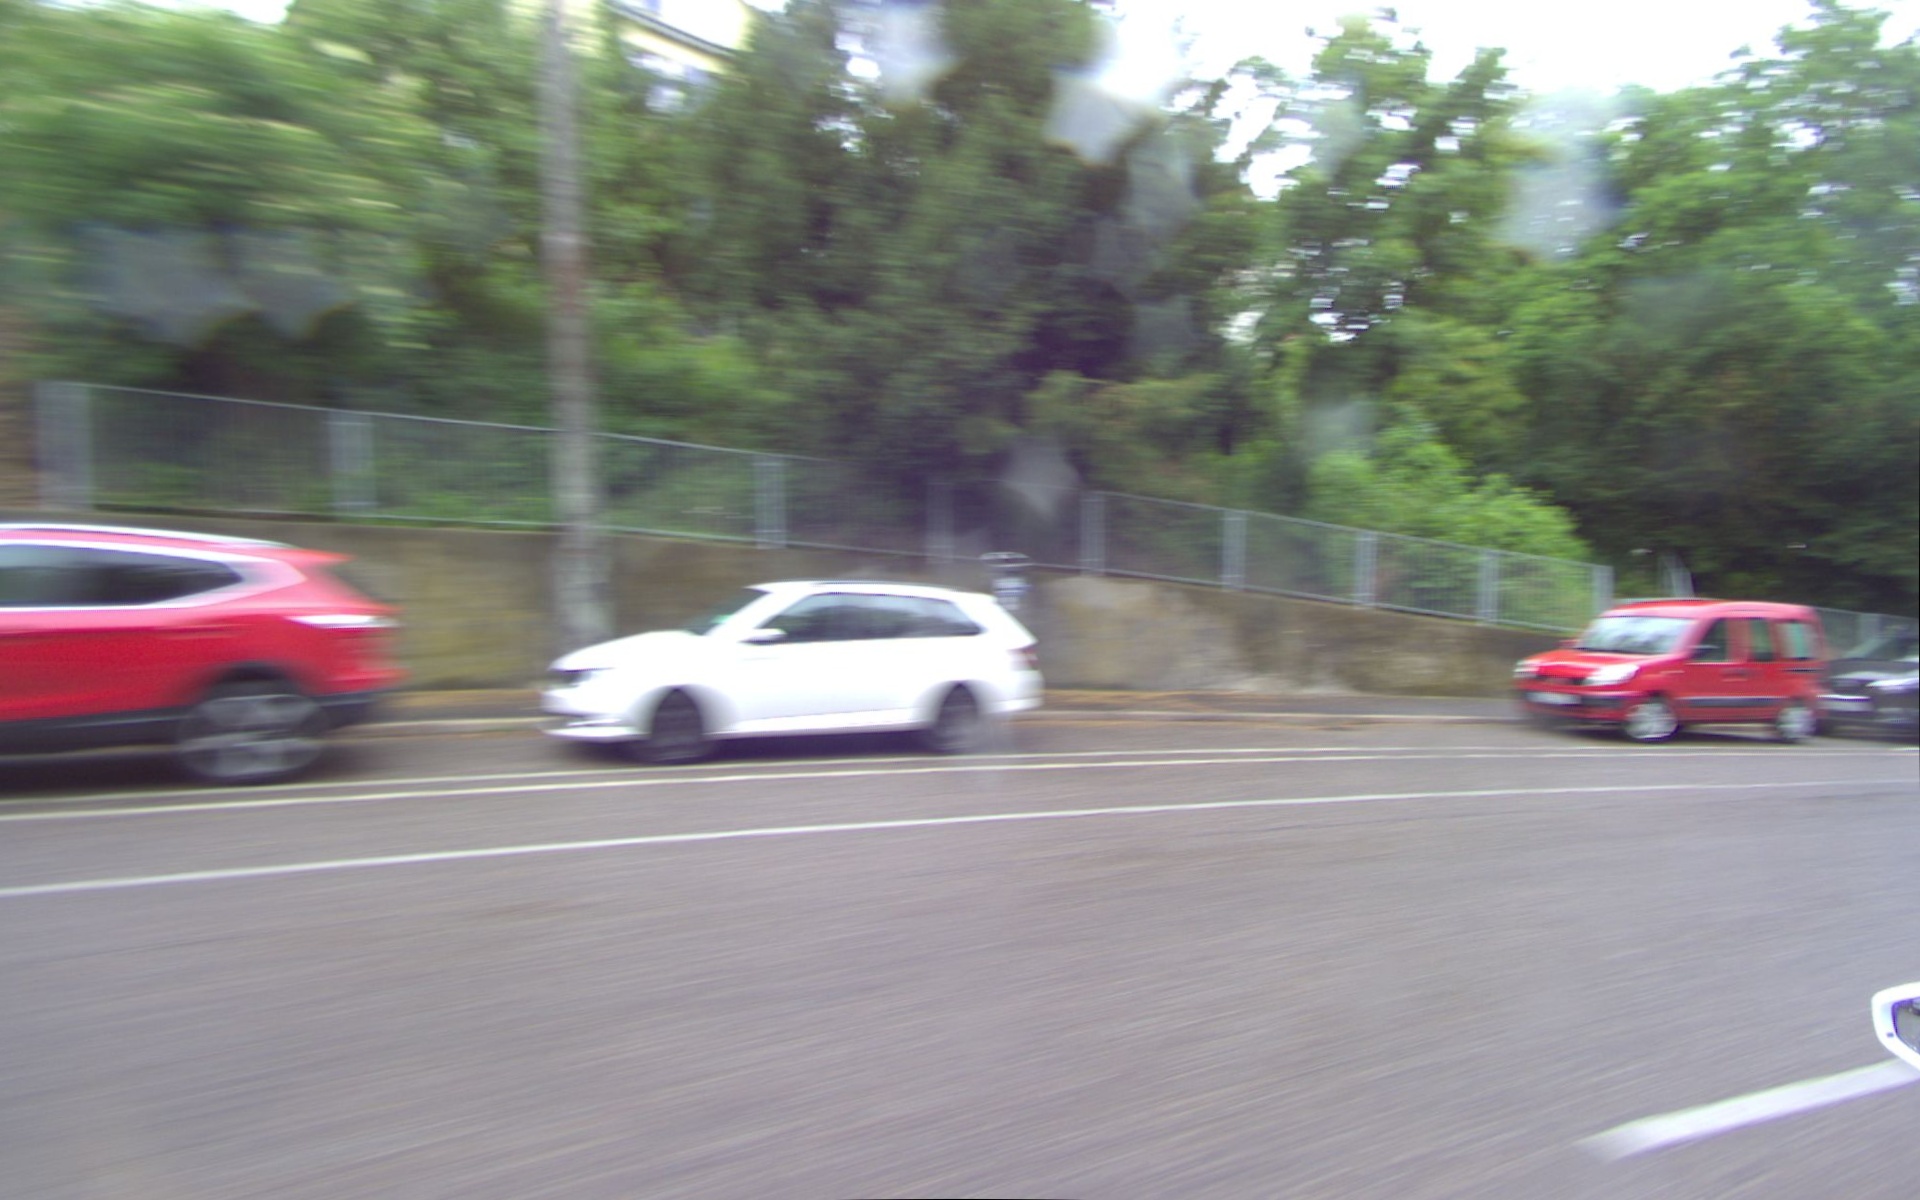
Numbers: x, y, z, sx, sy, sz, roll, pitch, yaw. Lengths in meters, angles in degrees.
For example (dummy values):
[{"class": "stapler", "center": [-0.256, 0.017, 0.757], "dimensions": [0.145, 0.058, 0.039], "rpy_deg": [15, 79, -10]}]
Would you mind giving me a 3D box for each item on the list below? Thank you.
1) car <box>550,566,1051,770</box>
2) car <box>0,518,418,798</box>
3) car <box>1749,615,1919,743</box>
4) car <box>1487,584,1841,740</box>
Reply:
[{"class": "car", "center": [-1.424, 0.528, 9.077], "dimensions": [4.141, 1.499, 1.732], "rpy_deg": [1, 2, -25]}, {"class": "car", "center": [-6.062, 0.314, 6.450], "dimensions": [4.387, 1.607, 1.764], "rpy_deg": [2, 0, -34]}, {"class": "car", "center": [14.083, 1.135, 14.626], "dimensions": [4.328, 1.640, 1.992], "rpy_deg": [3, -1, -18]}, {"class": "car", "center": [9.177, 0.824, 13.123], "dimensions": [4.074, 1.791, 1.748], "rpy_deg": [3, -1, -20]}]
